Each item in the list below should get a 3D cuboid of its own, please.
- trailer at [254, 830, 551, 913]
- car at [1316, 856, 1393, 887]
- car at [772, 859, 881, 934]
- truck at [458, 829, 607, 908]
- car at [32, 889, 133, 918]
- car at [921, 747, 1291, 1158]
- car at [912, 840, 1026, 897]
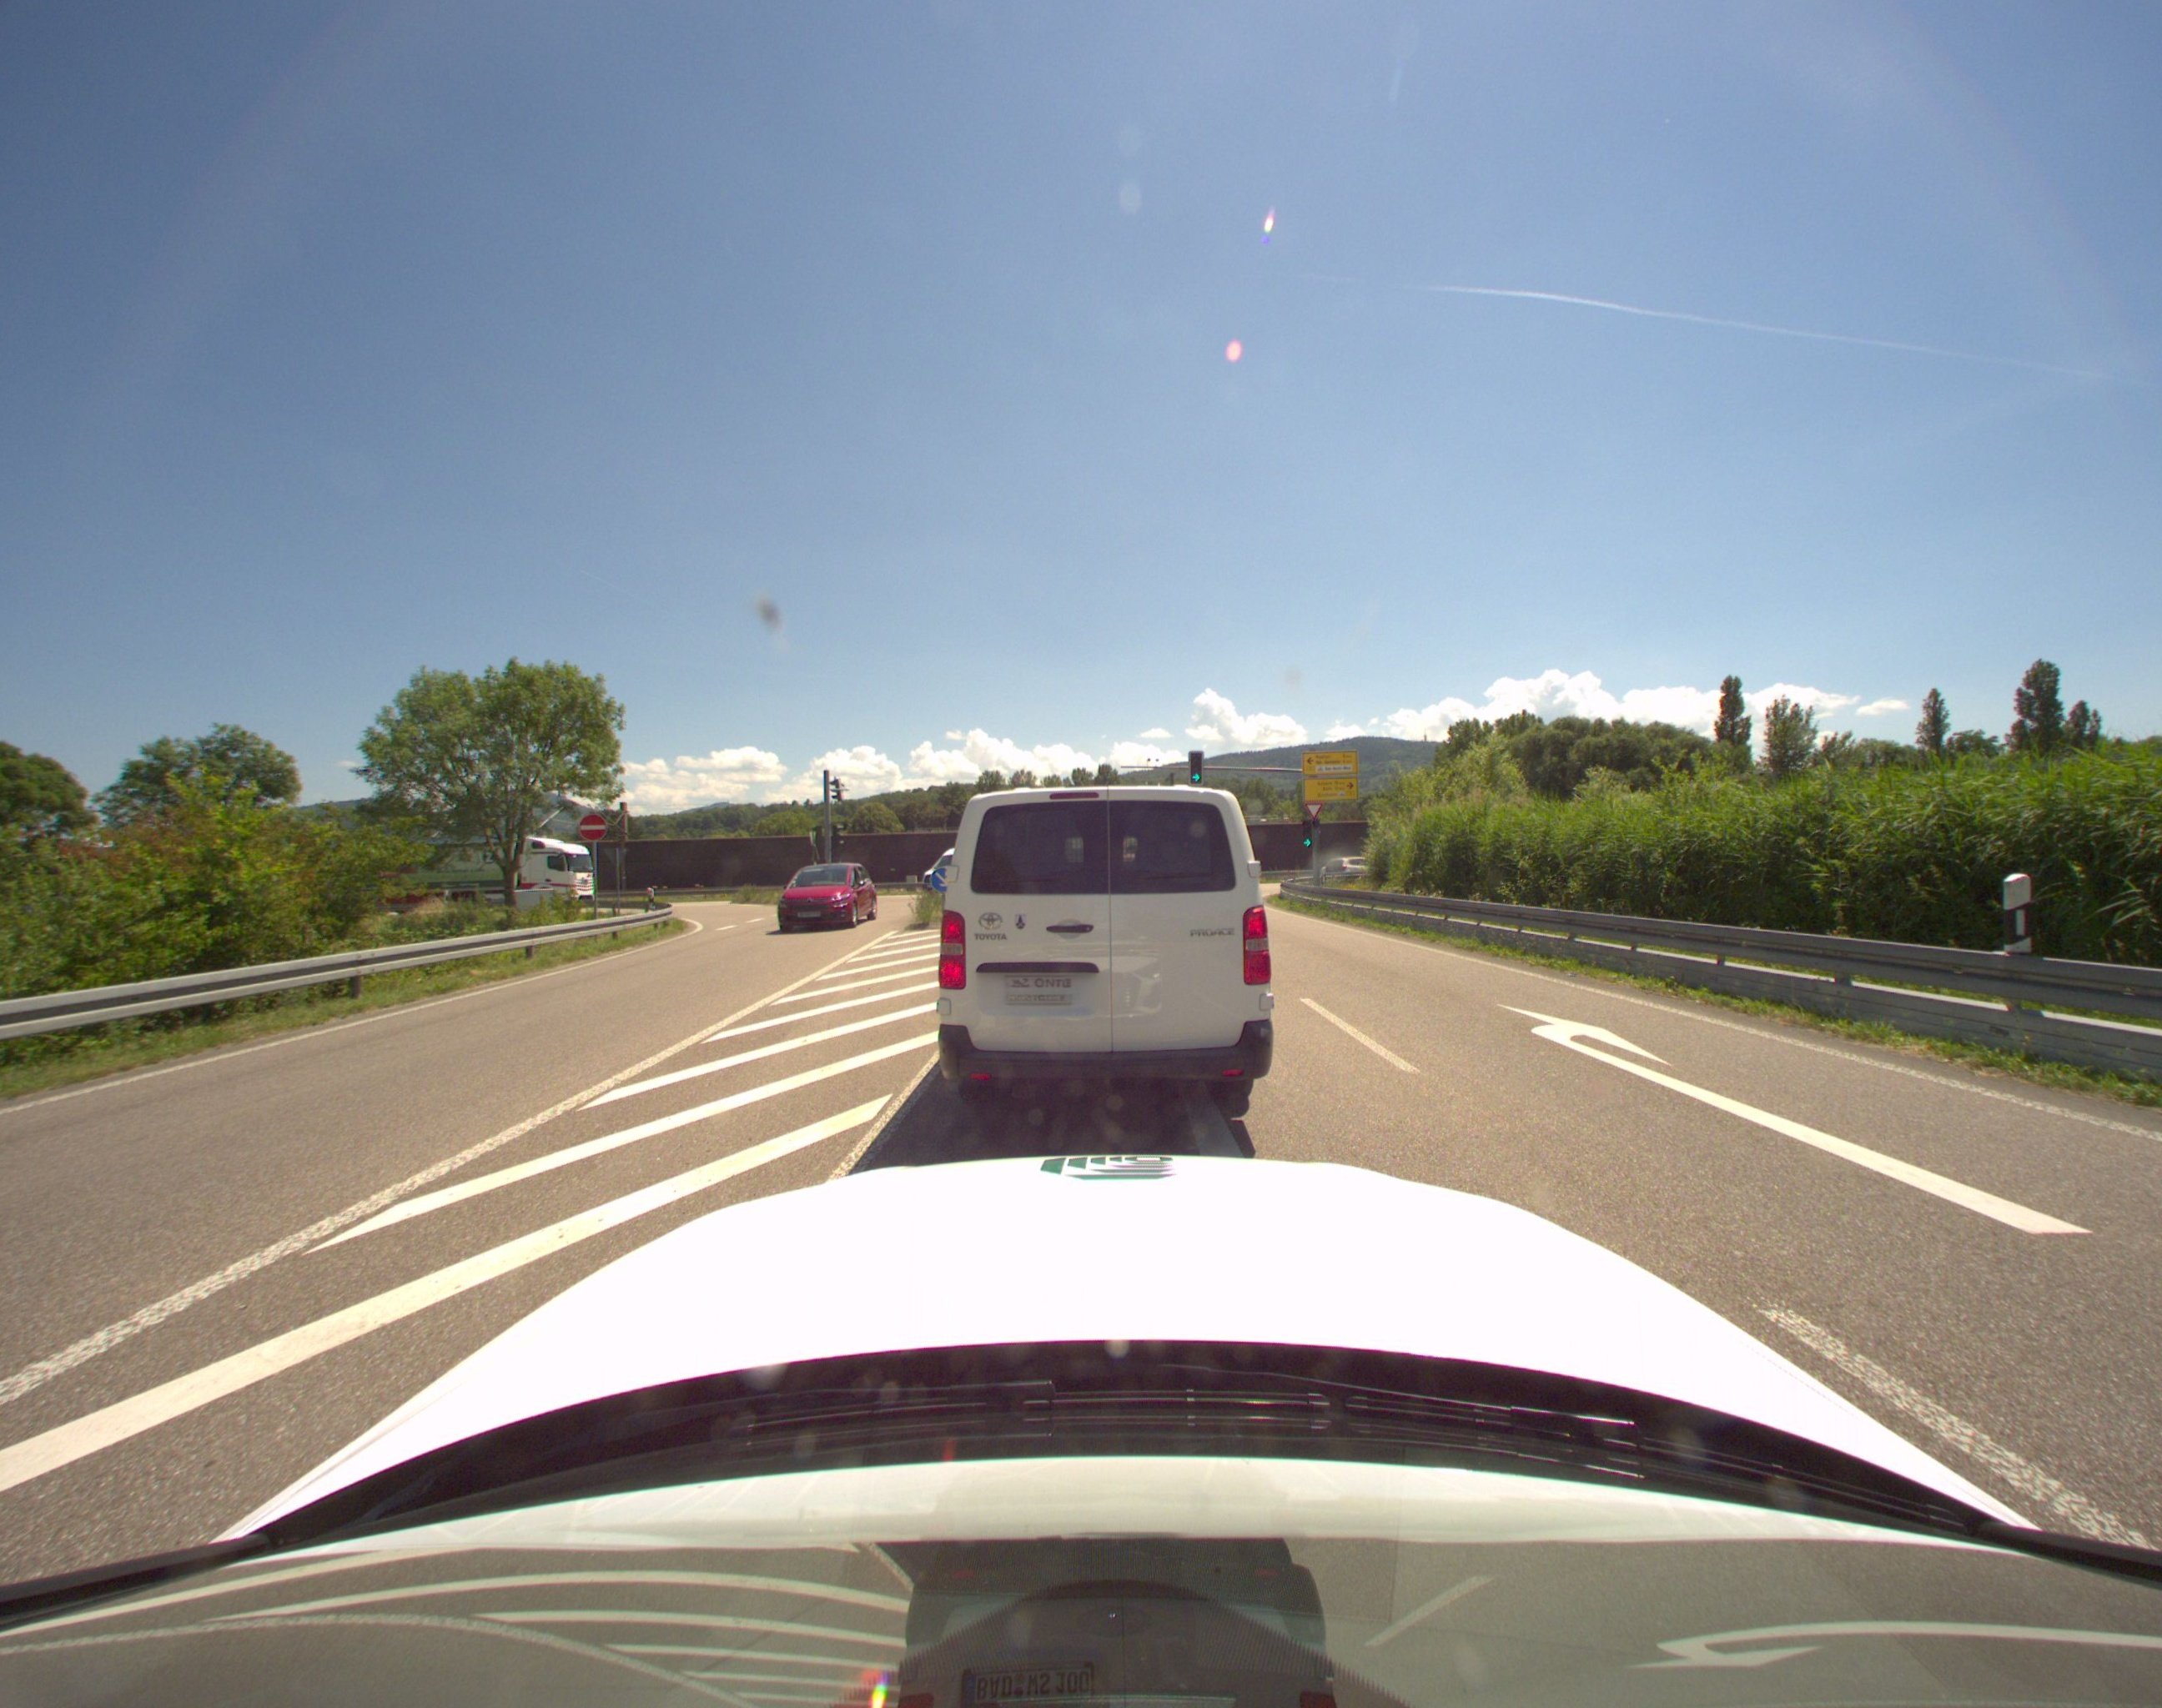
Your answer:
[{"bbox_3d":[-35.795,0.899,43.277,13.098,3.954,3.062,-1,-1,0],"label":"trailer"},{"bbox_3d":[13.945,0.861,41.475,3.608,1.478,1.557,0,-1,-23],"label":"car"},{"bbox_3d":[-6.511,1.032,21.292,1.733,1.685,4.202,-3,-1,-5],"label":"car"},{"bbox_3d":[-29.037,0.767,43.319,5.746,3.954,3.062,-1,-1,0],"label":"truck"},{"bbox_3d":[-53.819,2.654,43.938,3.462,1.464,1.554,-1,-1,0],"label":"car"},{"bbox_3d":[0.185,0.510,6.069,1.808,2.017,4.001,-1,-1,2],"label":"car"},{"bbox_3d":[-5.336,0.648,39.611,1.974,2.416,5.626,-3,0,37],"label":"car"}]
